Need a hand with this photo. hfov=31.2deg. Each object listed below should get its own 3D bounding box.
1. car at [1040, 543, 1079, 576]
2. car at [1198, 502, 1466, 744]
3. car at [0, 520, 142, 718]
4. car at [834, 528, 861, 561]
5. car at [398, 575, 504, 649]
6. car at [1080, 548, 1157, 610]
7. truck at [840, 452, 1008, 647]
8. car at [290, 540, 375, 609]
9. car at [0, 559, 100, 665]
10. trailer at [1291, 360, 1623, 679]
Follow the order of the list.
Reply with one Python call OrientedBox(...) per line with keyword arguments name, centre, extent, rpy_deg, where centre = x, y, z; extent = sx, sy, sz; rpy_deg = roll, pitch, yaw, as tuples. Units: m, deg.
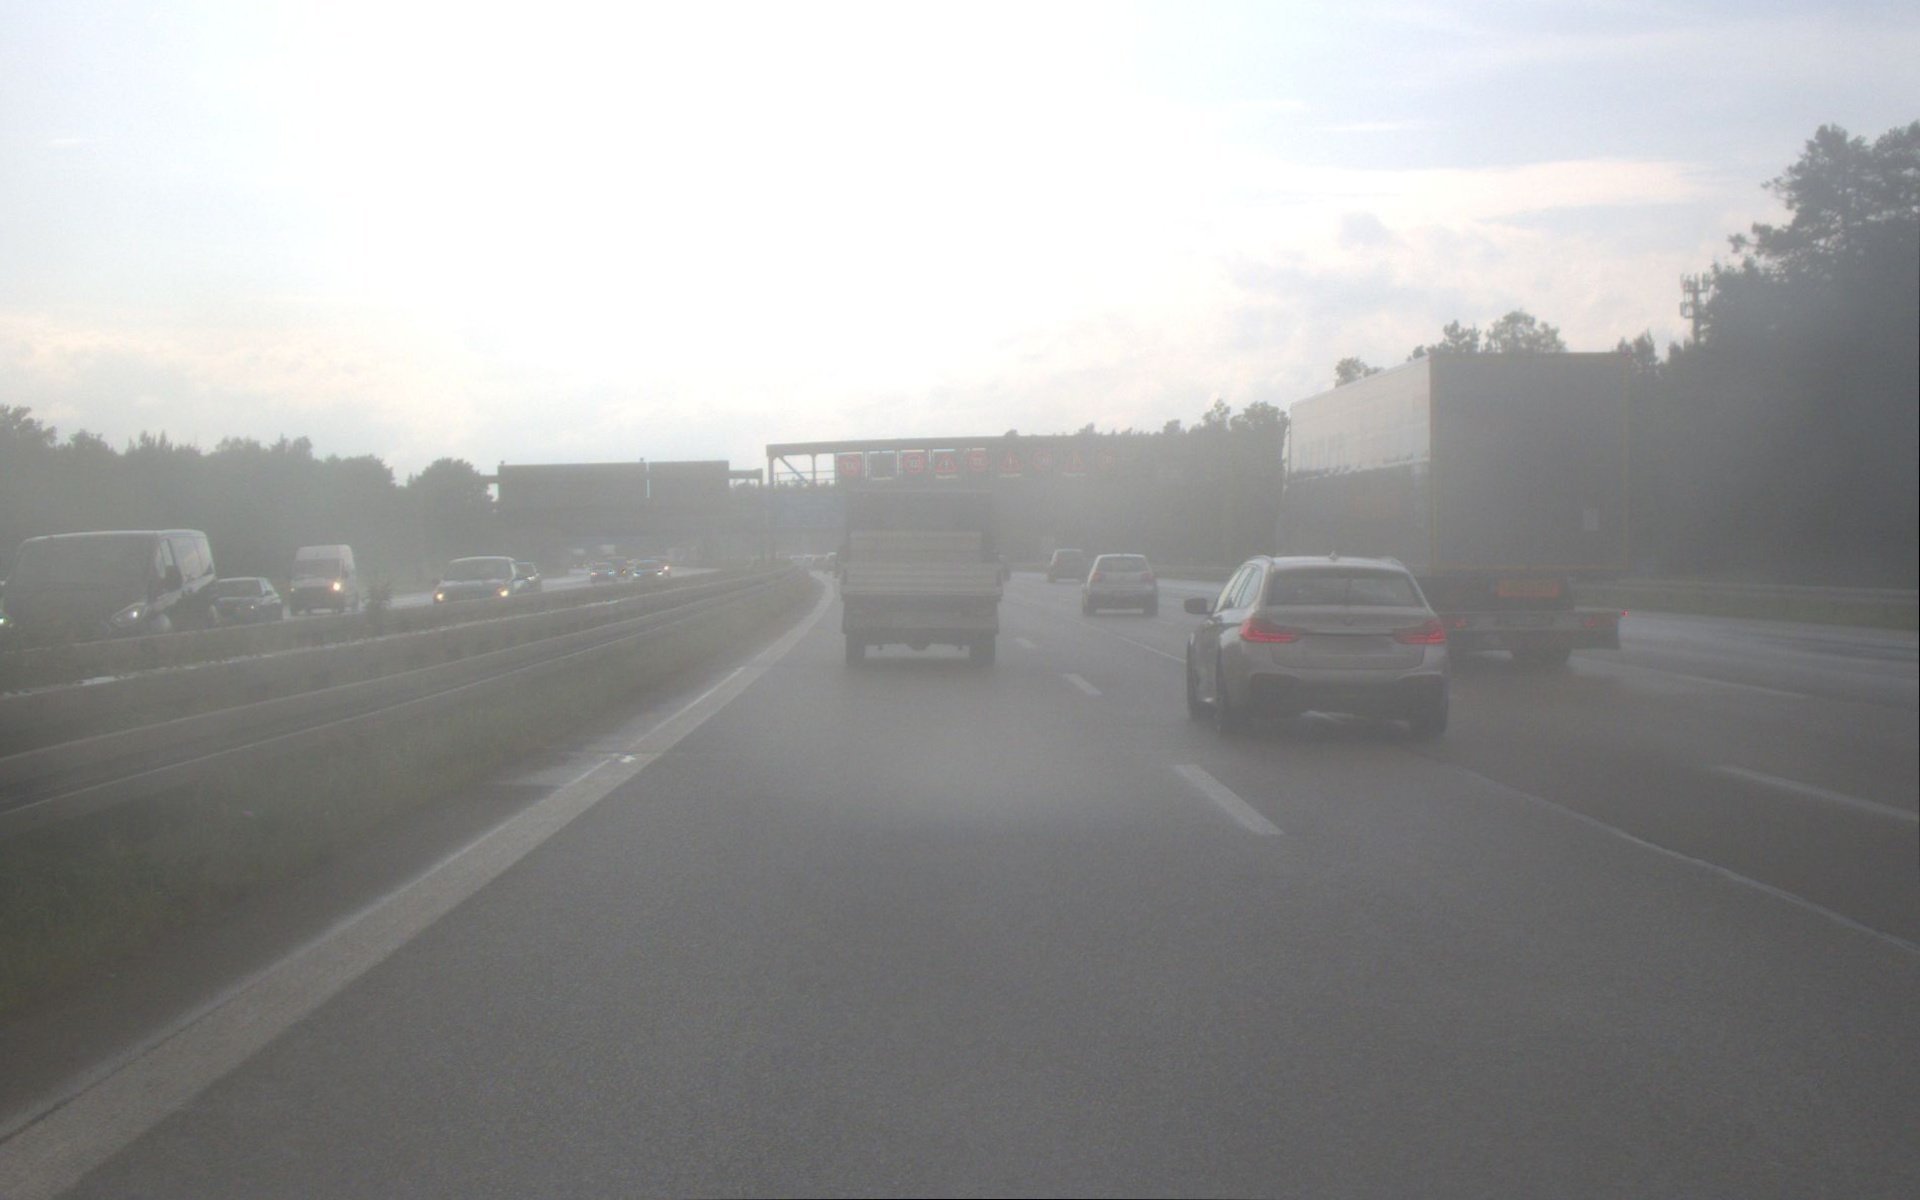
OrientedBox(name="car", centre=(5.192, -2.114, 179.780), extent=(1.740, 1.683, 4.001), rpy_deg=(0, 1, -2))
OrientedBox(name="car", centre=(3.108, 0.139, 29.363), extent=(2.078, 1.878, 5.010), rpy_deg=(0, 1, 5))
OrientedBox(name="car", centre=(-10.387, 0.174, 37.224), extent=(1.993, 2.007, 4.627), rpy_deg=(-1, 1, -1))
OrientedBox(name="car", centre=(-7.010, -3.496, 214.361), extent=(1.617, 2.007, 4.001), rpy_deg=(1, 1, -3))
OrientedBox(name="car", centre=(-11.142, 0.236, 75.407), extent=(1.770, 1.534, 4.000), rpy_deg=(-1, 1, -1))
OrientedBox(name="car", centre=(3.873, -0.542, 84.355), extent=(1.831, 1.461, 4.000), rpy_deg=(0, 1, 2))
OrientedBox(name="truck", centre=(-0.457, -0.692, 46.366), extent=(2.137, 2.480, 5.313), rpy_deg=(0, 1, 0))
OrientedBox(name="car", centre=(-24.131, -1.030, 132.473), extent=(2.098, 2.502, 6.584), rpy_deg=(-2, 1, -1))
OrientedBox(name="car", centre=(-14.250, 0.165, 51.644), extent=(1.698, 1.482, 4.000), rpy_deg=(-1, 1, -1))
OrientedBox(name="trailer", centre=(6.865, -1.109, 49.741), extent=(2.323, 3.988, 13.413), rpy_deg=(0, 1, -2))
